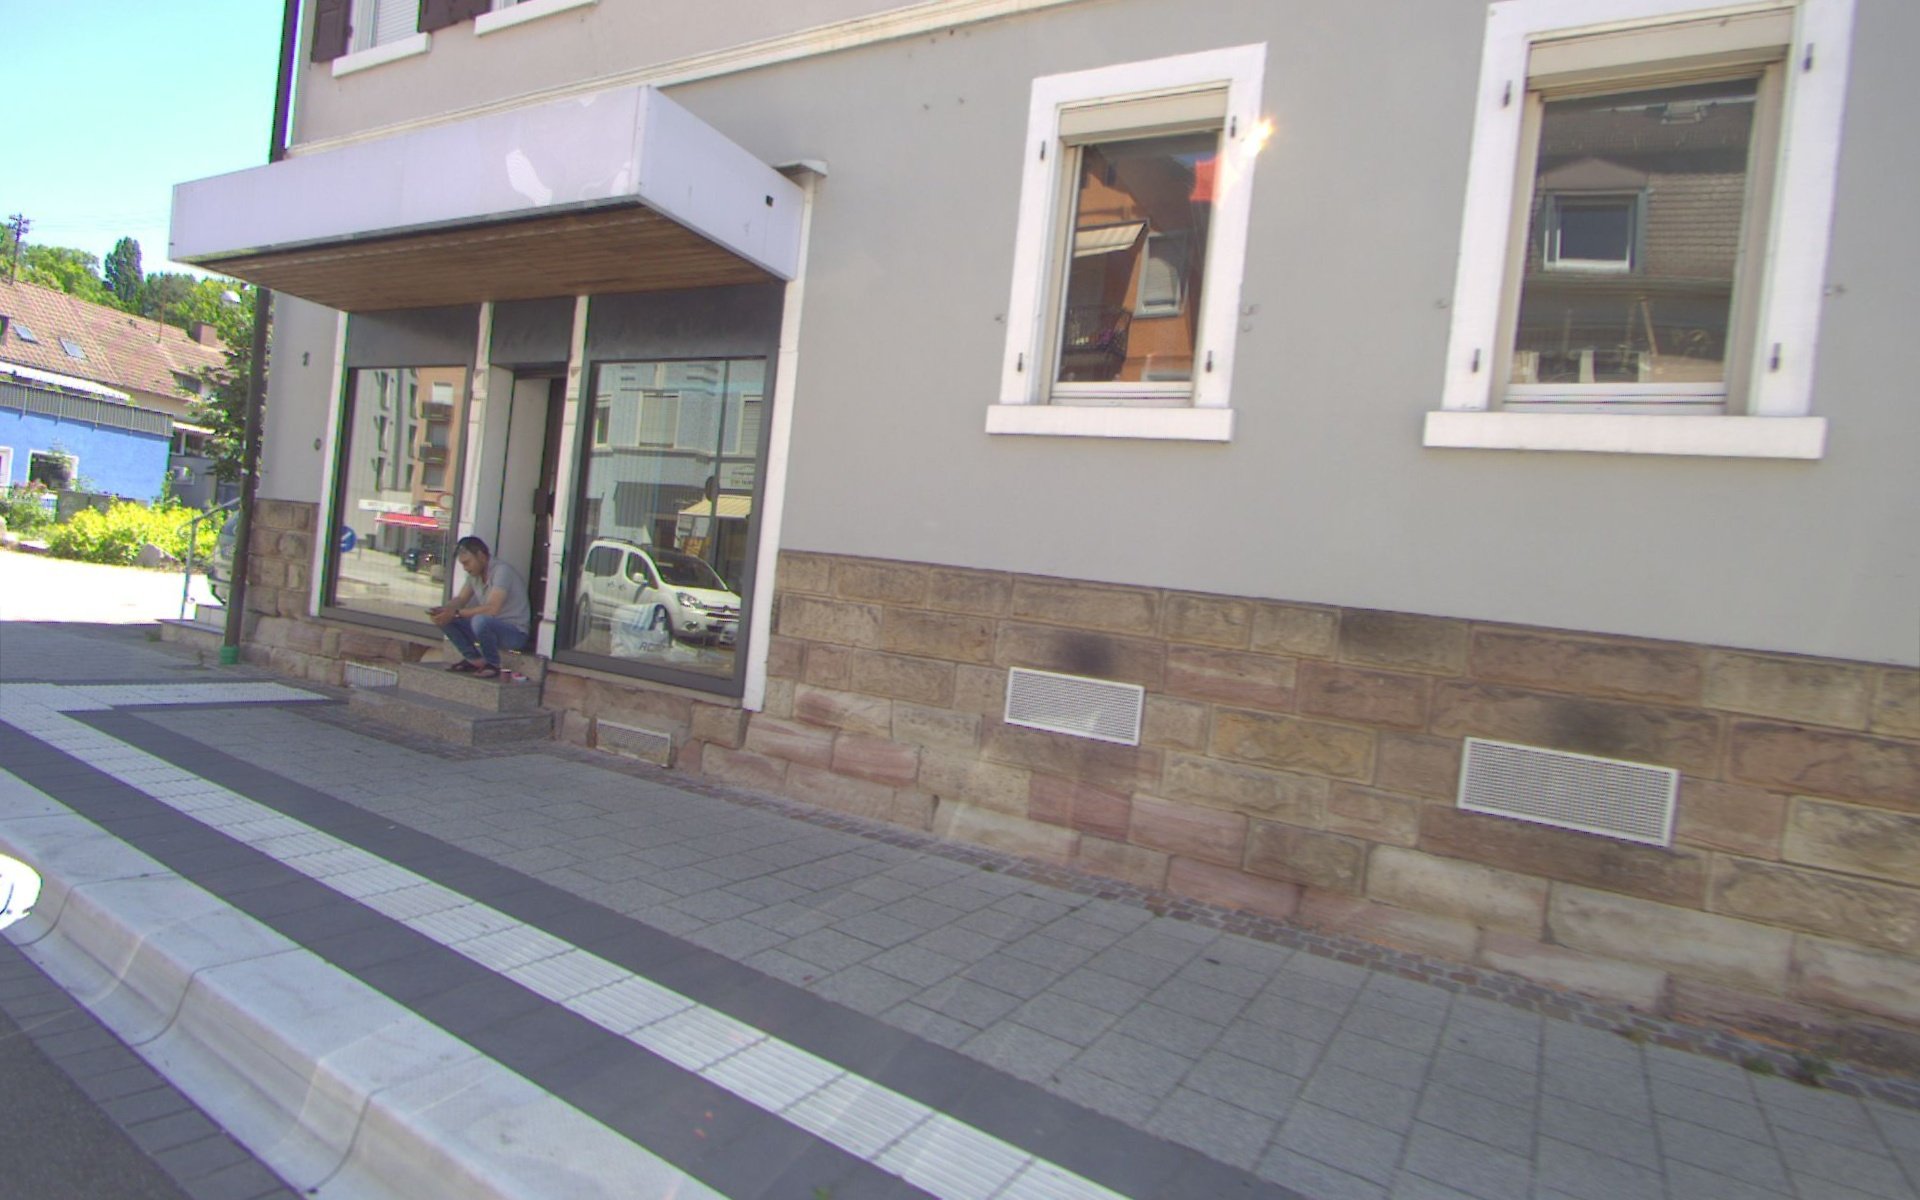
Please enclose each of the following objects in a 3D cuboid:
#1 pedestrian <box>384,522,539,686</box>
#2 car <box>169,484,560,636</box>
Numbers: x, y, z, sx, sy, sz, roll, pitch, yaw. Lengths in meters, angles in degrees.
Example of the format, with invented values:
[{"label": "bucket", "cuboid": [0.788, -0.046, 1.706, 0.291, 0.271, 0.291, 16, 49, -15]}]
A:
[{"label": "pedestrian", "cuboid": [-3.415, 0.023, 6.906, 0.711, 1.013, 0.590, 7, 2, 29]}, {"label": "car", "cuboid": [-7.660, -0.428, 13.360, 1.772, 1.616, 4.063, 7, 2, 31]}]
